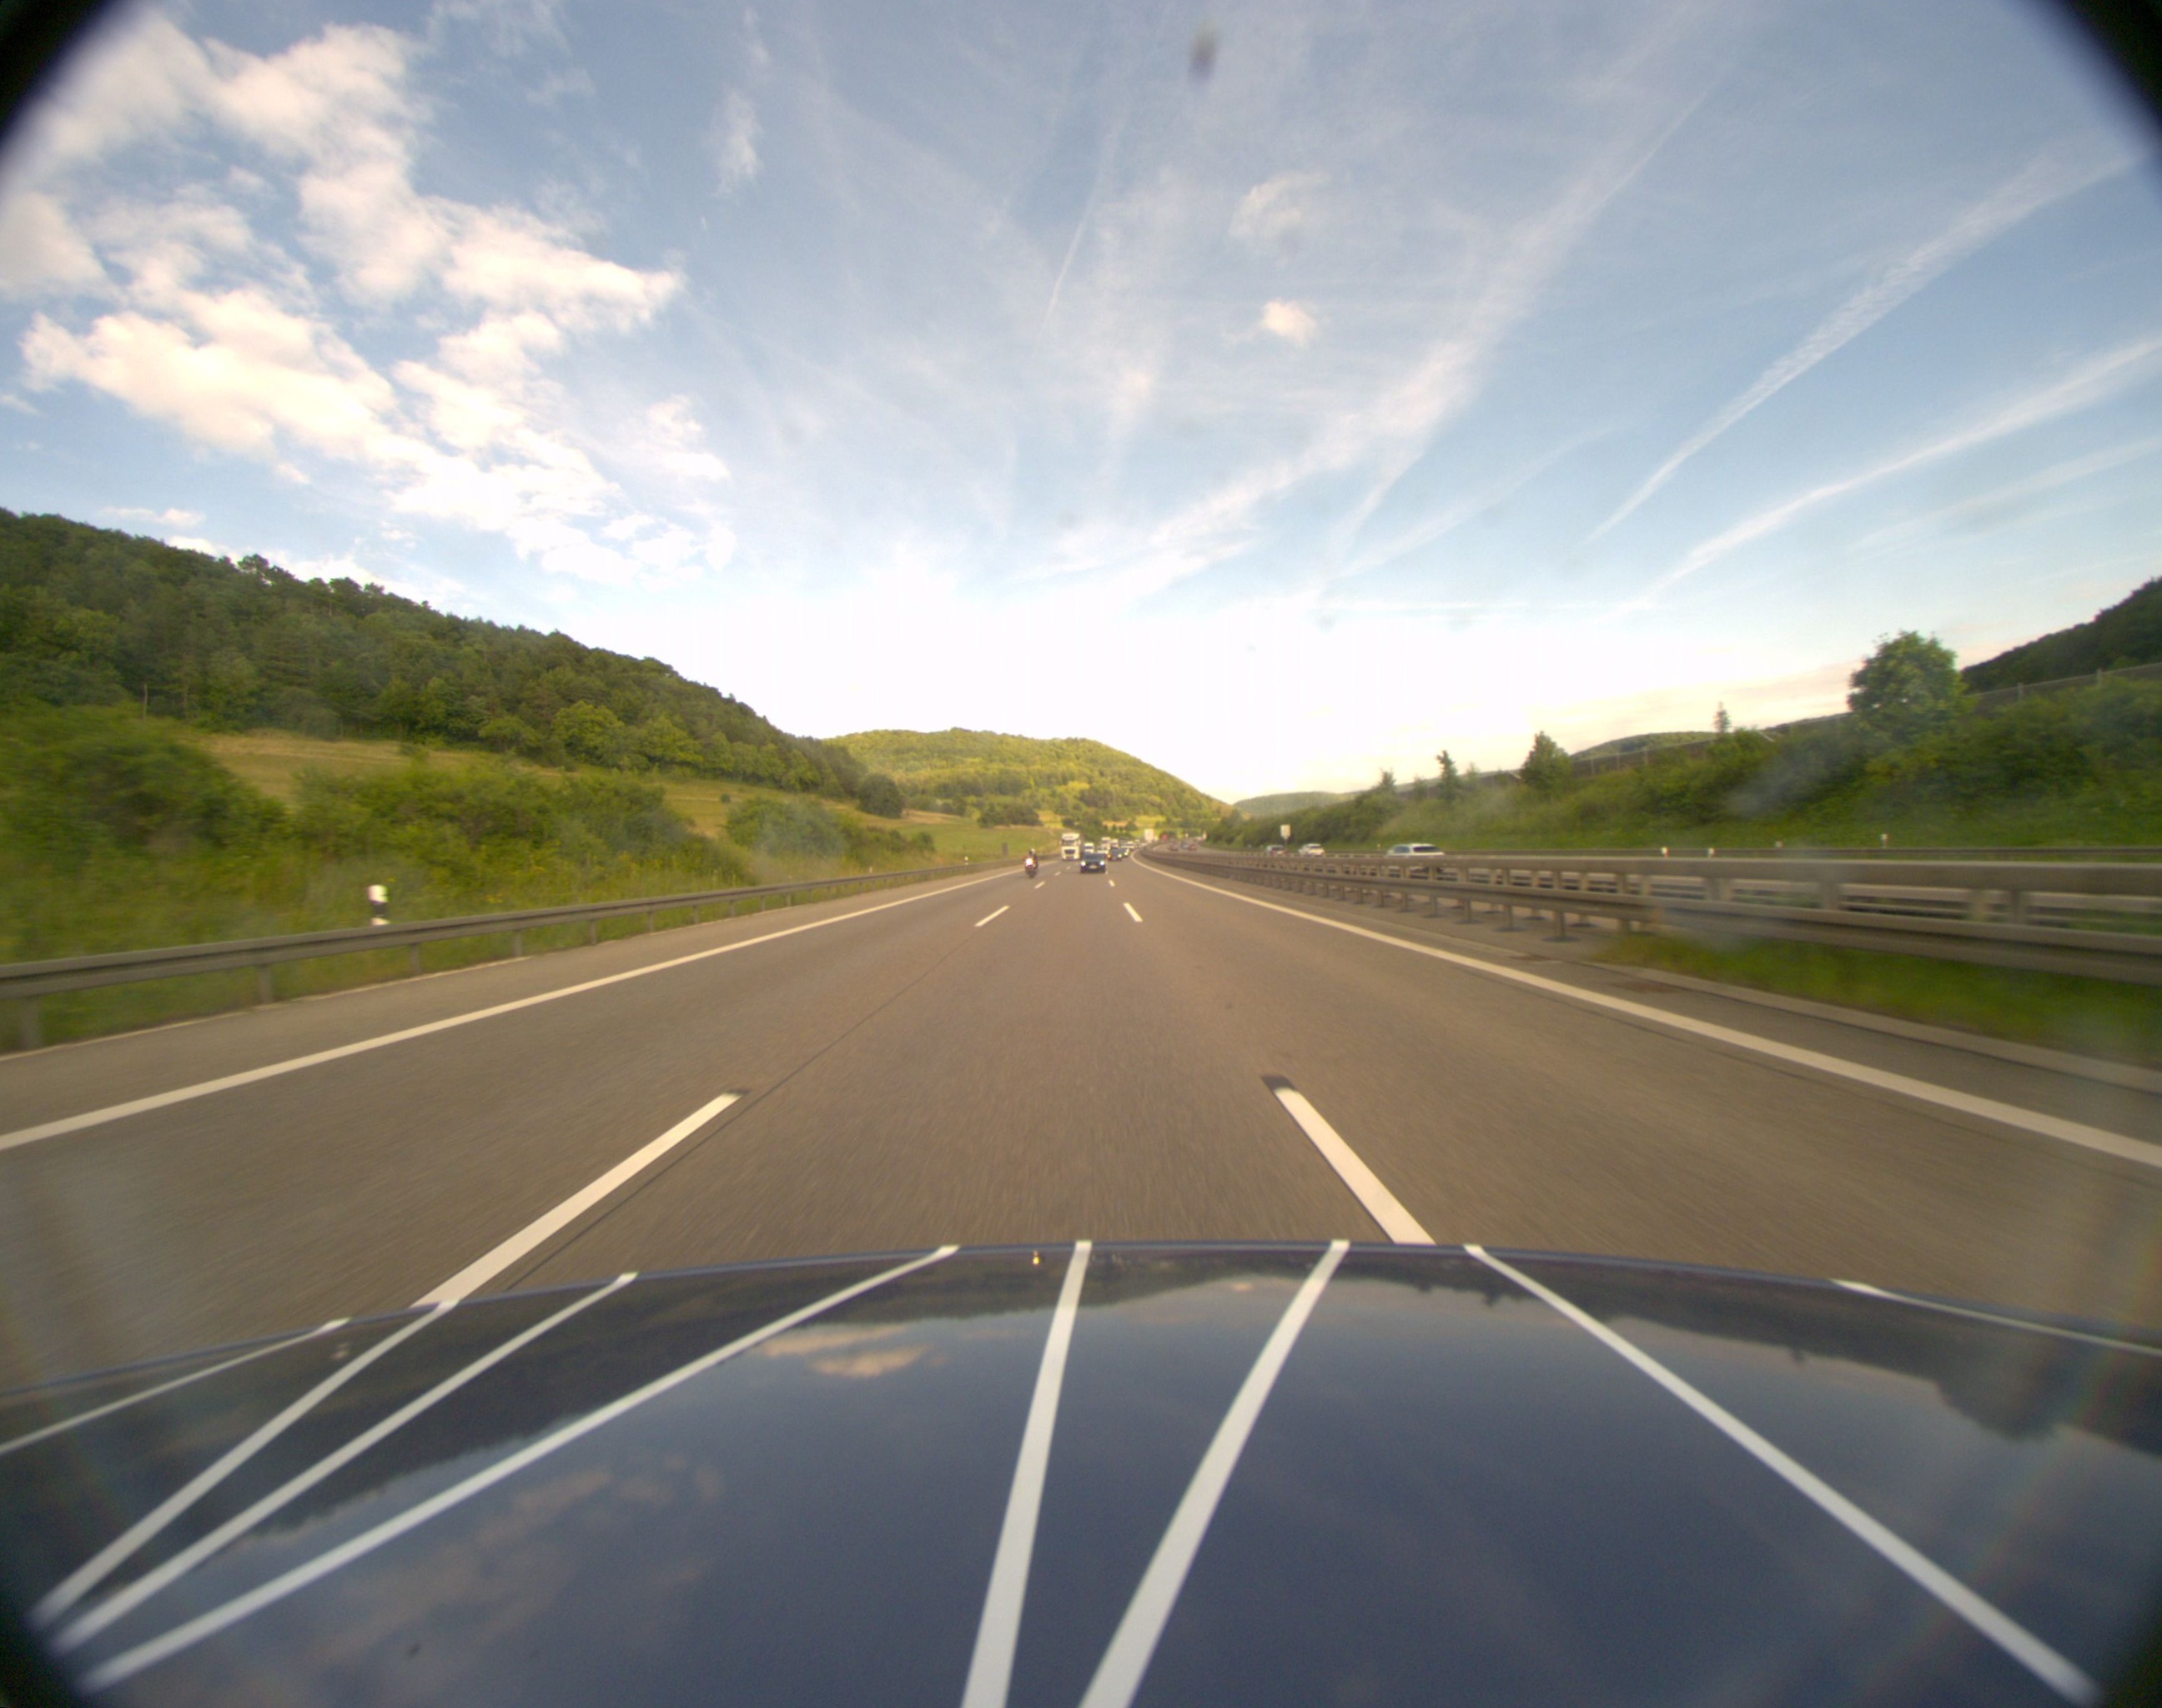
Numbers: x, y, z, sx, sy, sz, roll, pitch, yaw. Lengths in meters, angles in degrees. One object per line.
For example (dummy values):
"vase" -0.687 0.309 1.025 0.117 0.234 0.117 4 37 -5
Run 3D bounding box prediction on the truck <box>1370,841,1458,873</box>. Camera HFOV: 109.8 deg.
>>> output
"truck" 15.521 0.103 35.670 1.999 1.357 4.644 -2 1 -1

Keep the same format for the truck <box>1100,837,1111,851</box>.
"truck" 7.207 -3.132 223.538 2.925 3.876 13.006 -2 1 1

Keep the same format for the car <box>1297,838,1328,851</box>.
"car" 25.540 -1.058 84.072 1.764 1.350 4.380 -2 1 -5

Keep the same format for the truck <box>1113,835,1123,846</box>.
"truck" 12.653 -4.554 256.955 2.707 3.628 9.036 -1 2 7

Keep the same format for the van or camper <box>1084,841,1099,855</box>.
"van or camper" 2.104 -1.240 150.151 1.997 2.702 7.525 -1 1 7

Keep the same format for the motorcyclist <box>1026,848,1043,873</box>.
"motorcyclist" -2.877 0.383 47.385 0.878 1.506 0.797 -2 2 6

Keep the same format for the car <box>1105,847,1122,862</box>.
"car" 4.259 0.105 99.234 1.998 1.871 4.001 0 1 4

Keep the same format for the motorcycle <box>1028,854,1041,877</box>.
"motorcycle" -2.903 0.702 47.479 0.628 1.331 1.739 -1 2 2

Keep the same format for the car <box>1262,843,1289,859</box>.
"car" 19.619 -0.315 76.834 1.998 1.477 4.002 -2 -1 5

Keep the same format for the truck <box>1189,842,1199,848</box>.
"truck" 28.407 -2.270 191.247 1.998 1.346 3.946 0 1 2

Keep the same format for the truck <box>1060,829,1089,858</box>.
"truck" -0.848 -1.708 117.053 2.971 3.970 17.733 -2 1 4

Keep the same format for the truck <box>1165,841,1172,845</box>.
"truck" 25.719 -3.179 222.890 1.997 1.215 4.002 0 1 8

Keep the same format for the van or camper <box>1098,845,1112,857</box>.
"van or camper" 3.970 -0.502 125.398 1.998 1.881 4.487 -2 1 5

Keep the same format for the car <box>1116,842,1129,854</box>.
"car" 6.929 -1.037 126.246 1.998 1.871 4.001 0 1 4

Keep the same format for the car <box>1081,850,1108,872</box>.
"car" 0.922 0.421 50.903 1.580 1.311 4.000 -2 1 4

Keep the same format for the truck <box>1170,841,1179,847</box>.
"truck" 22.542 -2.392 183.961 1.998 1.585 4.847 0 1 5

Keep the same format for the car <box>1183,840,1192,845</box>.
"car" 31.566 -3.426 224.992 1.998 1.346 4.355 -4 1 3
